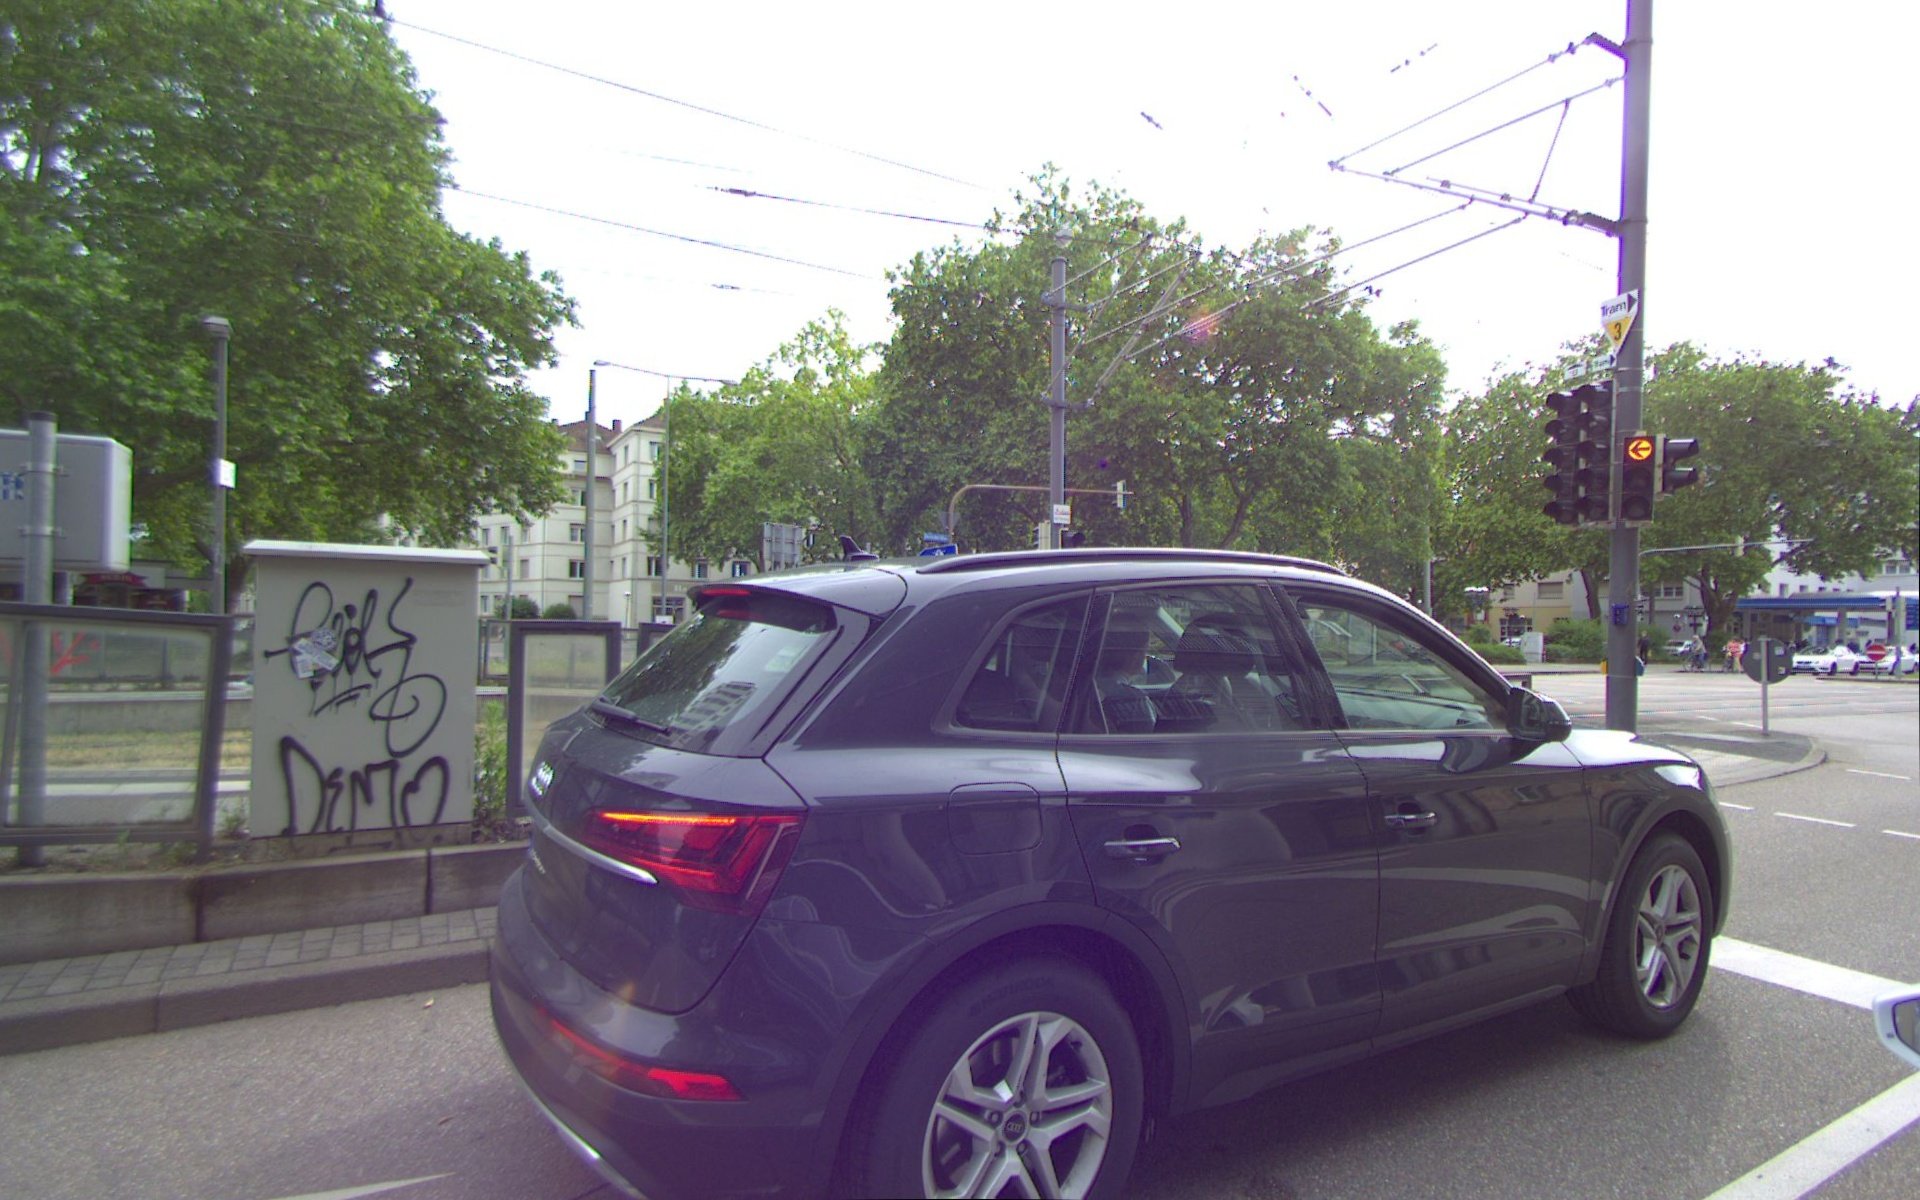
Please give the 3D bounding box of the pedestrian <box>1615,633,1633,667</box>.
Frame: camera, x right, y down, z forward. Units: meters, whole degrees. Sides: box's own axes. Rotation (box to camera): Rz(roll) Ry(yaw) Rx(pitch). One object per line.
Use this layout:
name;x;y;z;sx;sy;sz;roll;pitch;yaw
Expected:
pedestrian;35.191;2.650;53.247;0.681;1.735;0.865;0;-1;41

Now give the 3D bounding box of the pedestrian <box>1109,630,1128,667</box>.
pedestrian;6.689;2.026;42.308;0.644;1.530;0.683;1;-1;-3

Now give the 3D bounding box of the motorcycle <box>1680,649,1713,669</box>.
motorcycle;35.949;2.869;49.029;1.928;0.941;0.604;2;-1;-30

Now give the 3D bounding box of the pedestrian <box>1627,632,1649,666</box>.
pedestrian;35.743;2.559;52.971;0.862;1.735;0.870;0;-1;41

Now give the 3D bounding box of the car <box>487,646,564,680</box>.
car;-24.444;3.528;56.484;3.929;1.706;1.996;0;-1;31

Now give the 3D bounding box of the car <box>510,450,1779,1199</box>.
car;0.832;0.634;3.459;4.177;1.658;1.725;2;0;-30

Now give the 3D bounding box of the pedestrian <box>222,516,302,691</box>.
pedestrian;-8.184;0.046;11.808;0.658;1.976;0.732;2;0;-30

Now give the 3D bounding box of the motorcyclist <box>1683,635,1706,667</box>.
motorcyclist;35.808;2.490;48.947;0.863;1.540;0.617;2;-1;-30

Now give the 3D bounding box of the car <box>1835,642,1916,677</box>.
car;46.982;3.030;51.522;3.953;1.615;1.984;2;0;-30

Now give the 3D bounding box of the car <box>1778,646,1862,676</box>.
car;41.372;2.916;48.332;4.025;1.338;1.739;2;0;-29

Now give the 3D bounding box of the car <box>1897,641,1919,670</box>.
car;52.785;3.042;54.605;3.593;1.497;1.649;2;0;-29

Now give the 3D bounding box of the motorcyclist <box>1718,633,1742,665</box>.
motorcyclist;37.239;2.374;48.573;0.863;1.540;0.617;2;-1;-30

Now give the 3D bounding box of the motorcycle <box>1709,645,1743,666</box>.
motorcycle;36.933;2.675;48.434;1.928;0.941;0.604;2;-1;-30

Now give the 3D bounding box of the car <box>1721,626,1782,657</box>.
car;54.621;2.852;69.313;3.953;2.040;1.984;2;-1;-30
